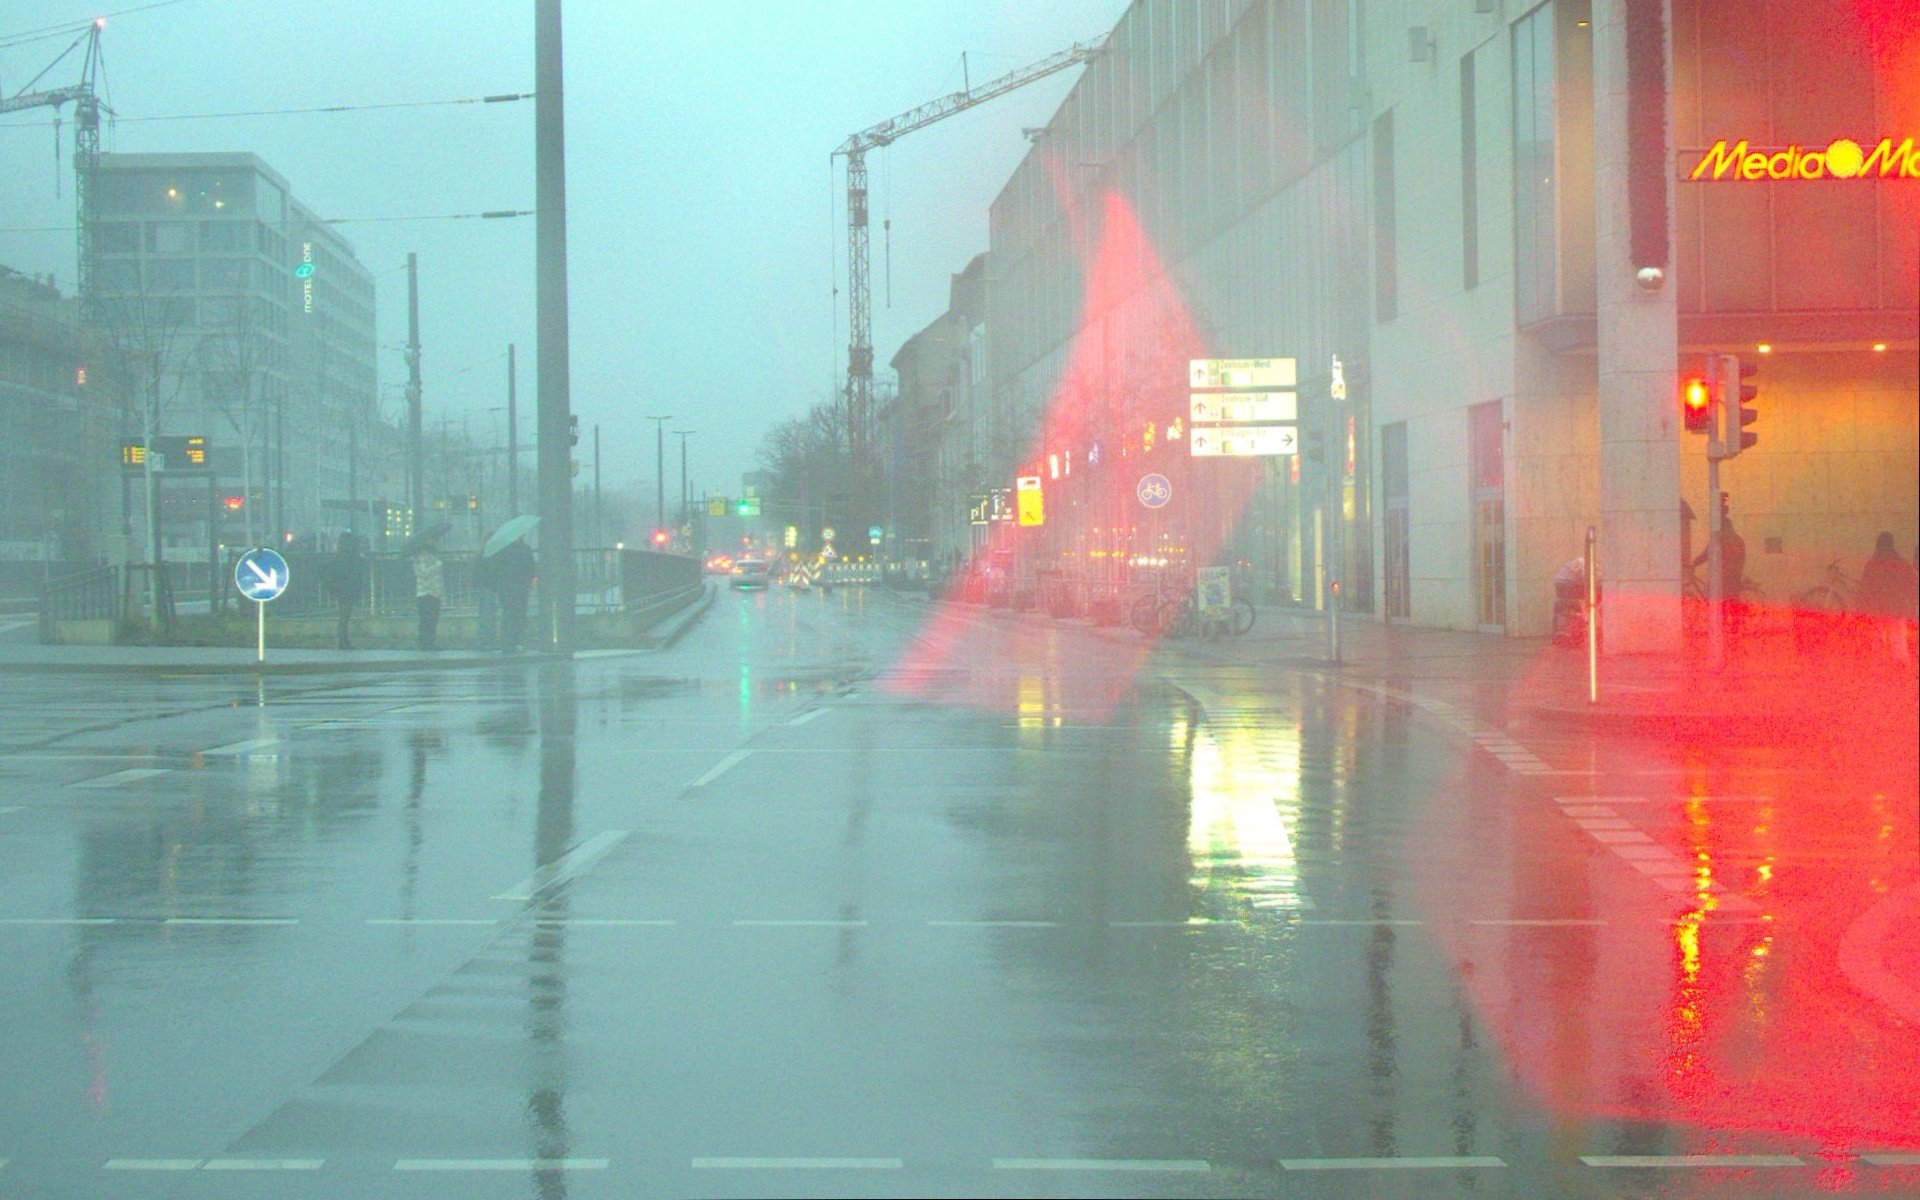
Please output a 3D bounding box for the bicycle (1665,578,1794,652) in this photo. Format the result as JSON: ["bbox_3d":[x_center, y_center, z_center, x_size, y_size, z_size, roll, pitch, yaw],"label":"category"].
[{"bbox_3d":[11.327,0.223,50.619,1.767,1.066,0.525,1,0,-9],"label":"bicycle"}]

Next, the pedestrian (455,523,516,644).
[{"bbox_3d":[-6.621,-0.235,47.971,0.612,1.680,0.577,1,1,42],"label":"pedestrian"}]

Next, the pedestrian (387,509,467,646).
[{"bbox_3d":[-7.202,-0.305,46.429,0.821,1.825,0.786,1,0,-31],"label":"pedestrian"}]

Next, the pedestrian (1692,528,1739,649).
[{"bbox_3d":[10.987,-0.166,49.988,0.600,1.739,0.524,1,0,8],"label":"pedestrian"}]

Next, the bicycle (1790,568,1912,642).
[{"bbox_3d":[13.162,0.067,50.804,1.646,1.066,0.525,1,0,-4],"label":"bicycle"}]

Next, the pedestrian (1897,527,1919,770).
[{"bbox_3d":[9.933,0.482,34.722,0.689,2.433,0.758,1,0,-1],"label":"pedestrian"}]

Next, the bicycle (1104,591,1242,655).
[{"bbox_3d":[3.860,0.415,62.458,2.425,1.095,0.712,-1,0,-2],"label":"bicycle"}]

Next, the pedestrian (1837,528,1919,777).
[{"bbox_3d":[9.171,0.508,34.097,0.714,2.433,0.758,1,0,-1],"label":"pedestrian"}]

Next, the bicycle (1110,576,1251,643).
[{"bbox_3d":[3.944,0.167,61.616,2.442,1.150,0.674,-1,0,-1],"label":"bicycle"}]

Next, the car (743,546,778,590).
[{"bbox_3d":[-9.466,-1.530,163.344,1.577,2.007,3.172,-1,1,-3],"label":"car"}]

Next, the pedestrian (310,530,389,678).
[{"bbox_3d":[-8.429,0.050,47.453,0.785,2.007,0.726,1,1,42],"label":"pedestrian"}]
